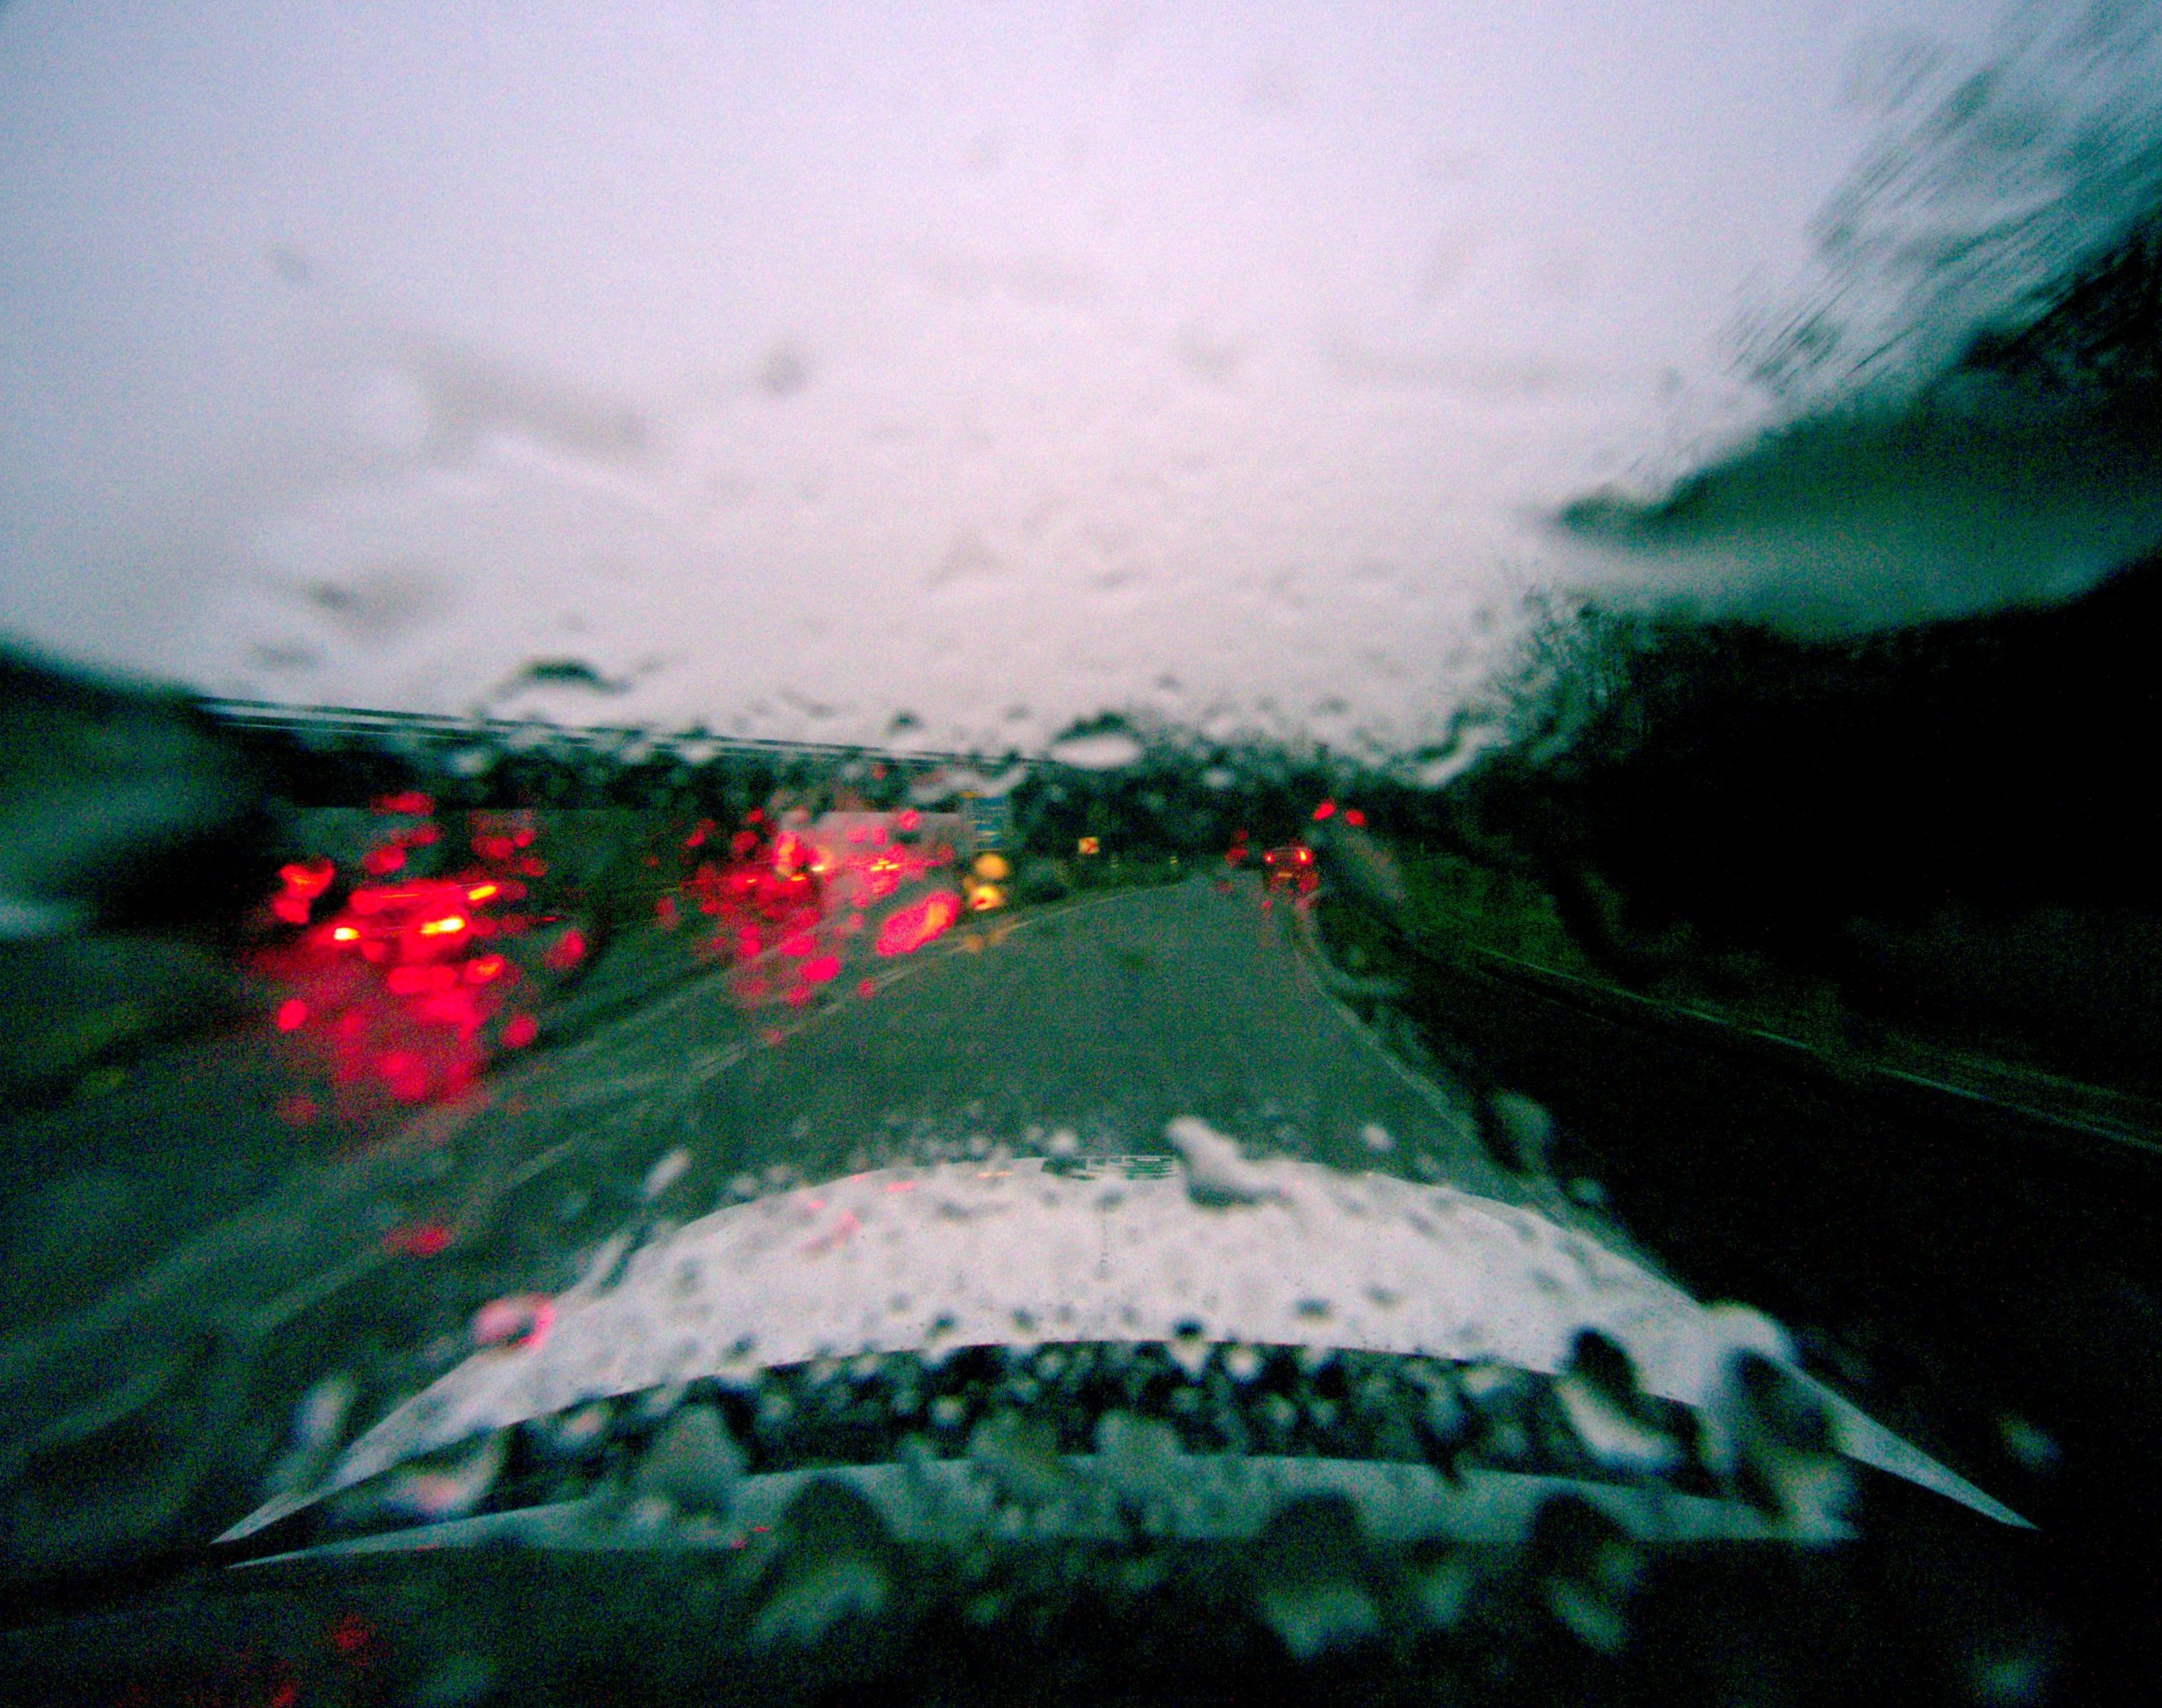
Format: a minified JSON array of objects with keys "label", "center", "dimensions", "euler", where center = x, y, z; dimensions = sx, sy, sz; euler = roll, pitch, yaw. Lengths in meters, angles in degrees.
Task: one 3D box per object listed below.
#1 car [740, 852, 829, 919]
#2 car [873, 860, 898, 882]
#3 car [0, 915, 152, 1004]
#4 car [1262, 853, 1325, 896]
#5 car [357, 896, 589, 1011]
[{"label":"car","center":[-8.789,0.870,24.461],"dimensions":[1.997,1.664,3.980],"euler":[-5,1,-15]},{"label":"car","center":[-16.768,1.432,70.081],"dimensions":[1.880,1.617,3.859],"euler":[-3,2,-12]},{"label":"car","center":[-22.532,2.247,17.028],"dimensions":[1.753,1.569,4.181],"euler":[-2,0,-9]},{"label":"car","center":[7.822,0.704,29.795],"dimensions":[1.717,1.429,3.786],"euler":[-1,1,22]},{"label":"car","center":[-10.911,1.673,15.068],"dimensions":[1.801,1.467,4.391],"euler":[-5,1,-15]}]
